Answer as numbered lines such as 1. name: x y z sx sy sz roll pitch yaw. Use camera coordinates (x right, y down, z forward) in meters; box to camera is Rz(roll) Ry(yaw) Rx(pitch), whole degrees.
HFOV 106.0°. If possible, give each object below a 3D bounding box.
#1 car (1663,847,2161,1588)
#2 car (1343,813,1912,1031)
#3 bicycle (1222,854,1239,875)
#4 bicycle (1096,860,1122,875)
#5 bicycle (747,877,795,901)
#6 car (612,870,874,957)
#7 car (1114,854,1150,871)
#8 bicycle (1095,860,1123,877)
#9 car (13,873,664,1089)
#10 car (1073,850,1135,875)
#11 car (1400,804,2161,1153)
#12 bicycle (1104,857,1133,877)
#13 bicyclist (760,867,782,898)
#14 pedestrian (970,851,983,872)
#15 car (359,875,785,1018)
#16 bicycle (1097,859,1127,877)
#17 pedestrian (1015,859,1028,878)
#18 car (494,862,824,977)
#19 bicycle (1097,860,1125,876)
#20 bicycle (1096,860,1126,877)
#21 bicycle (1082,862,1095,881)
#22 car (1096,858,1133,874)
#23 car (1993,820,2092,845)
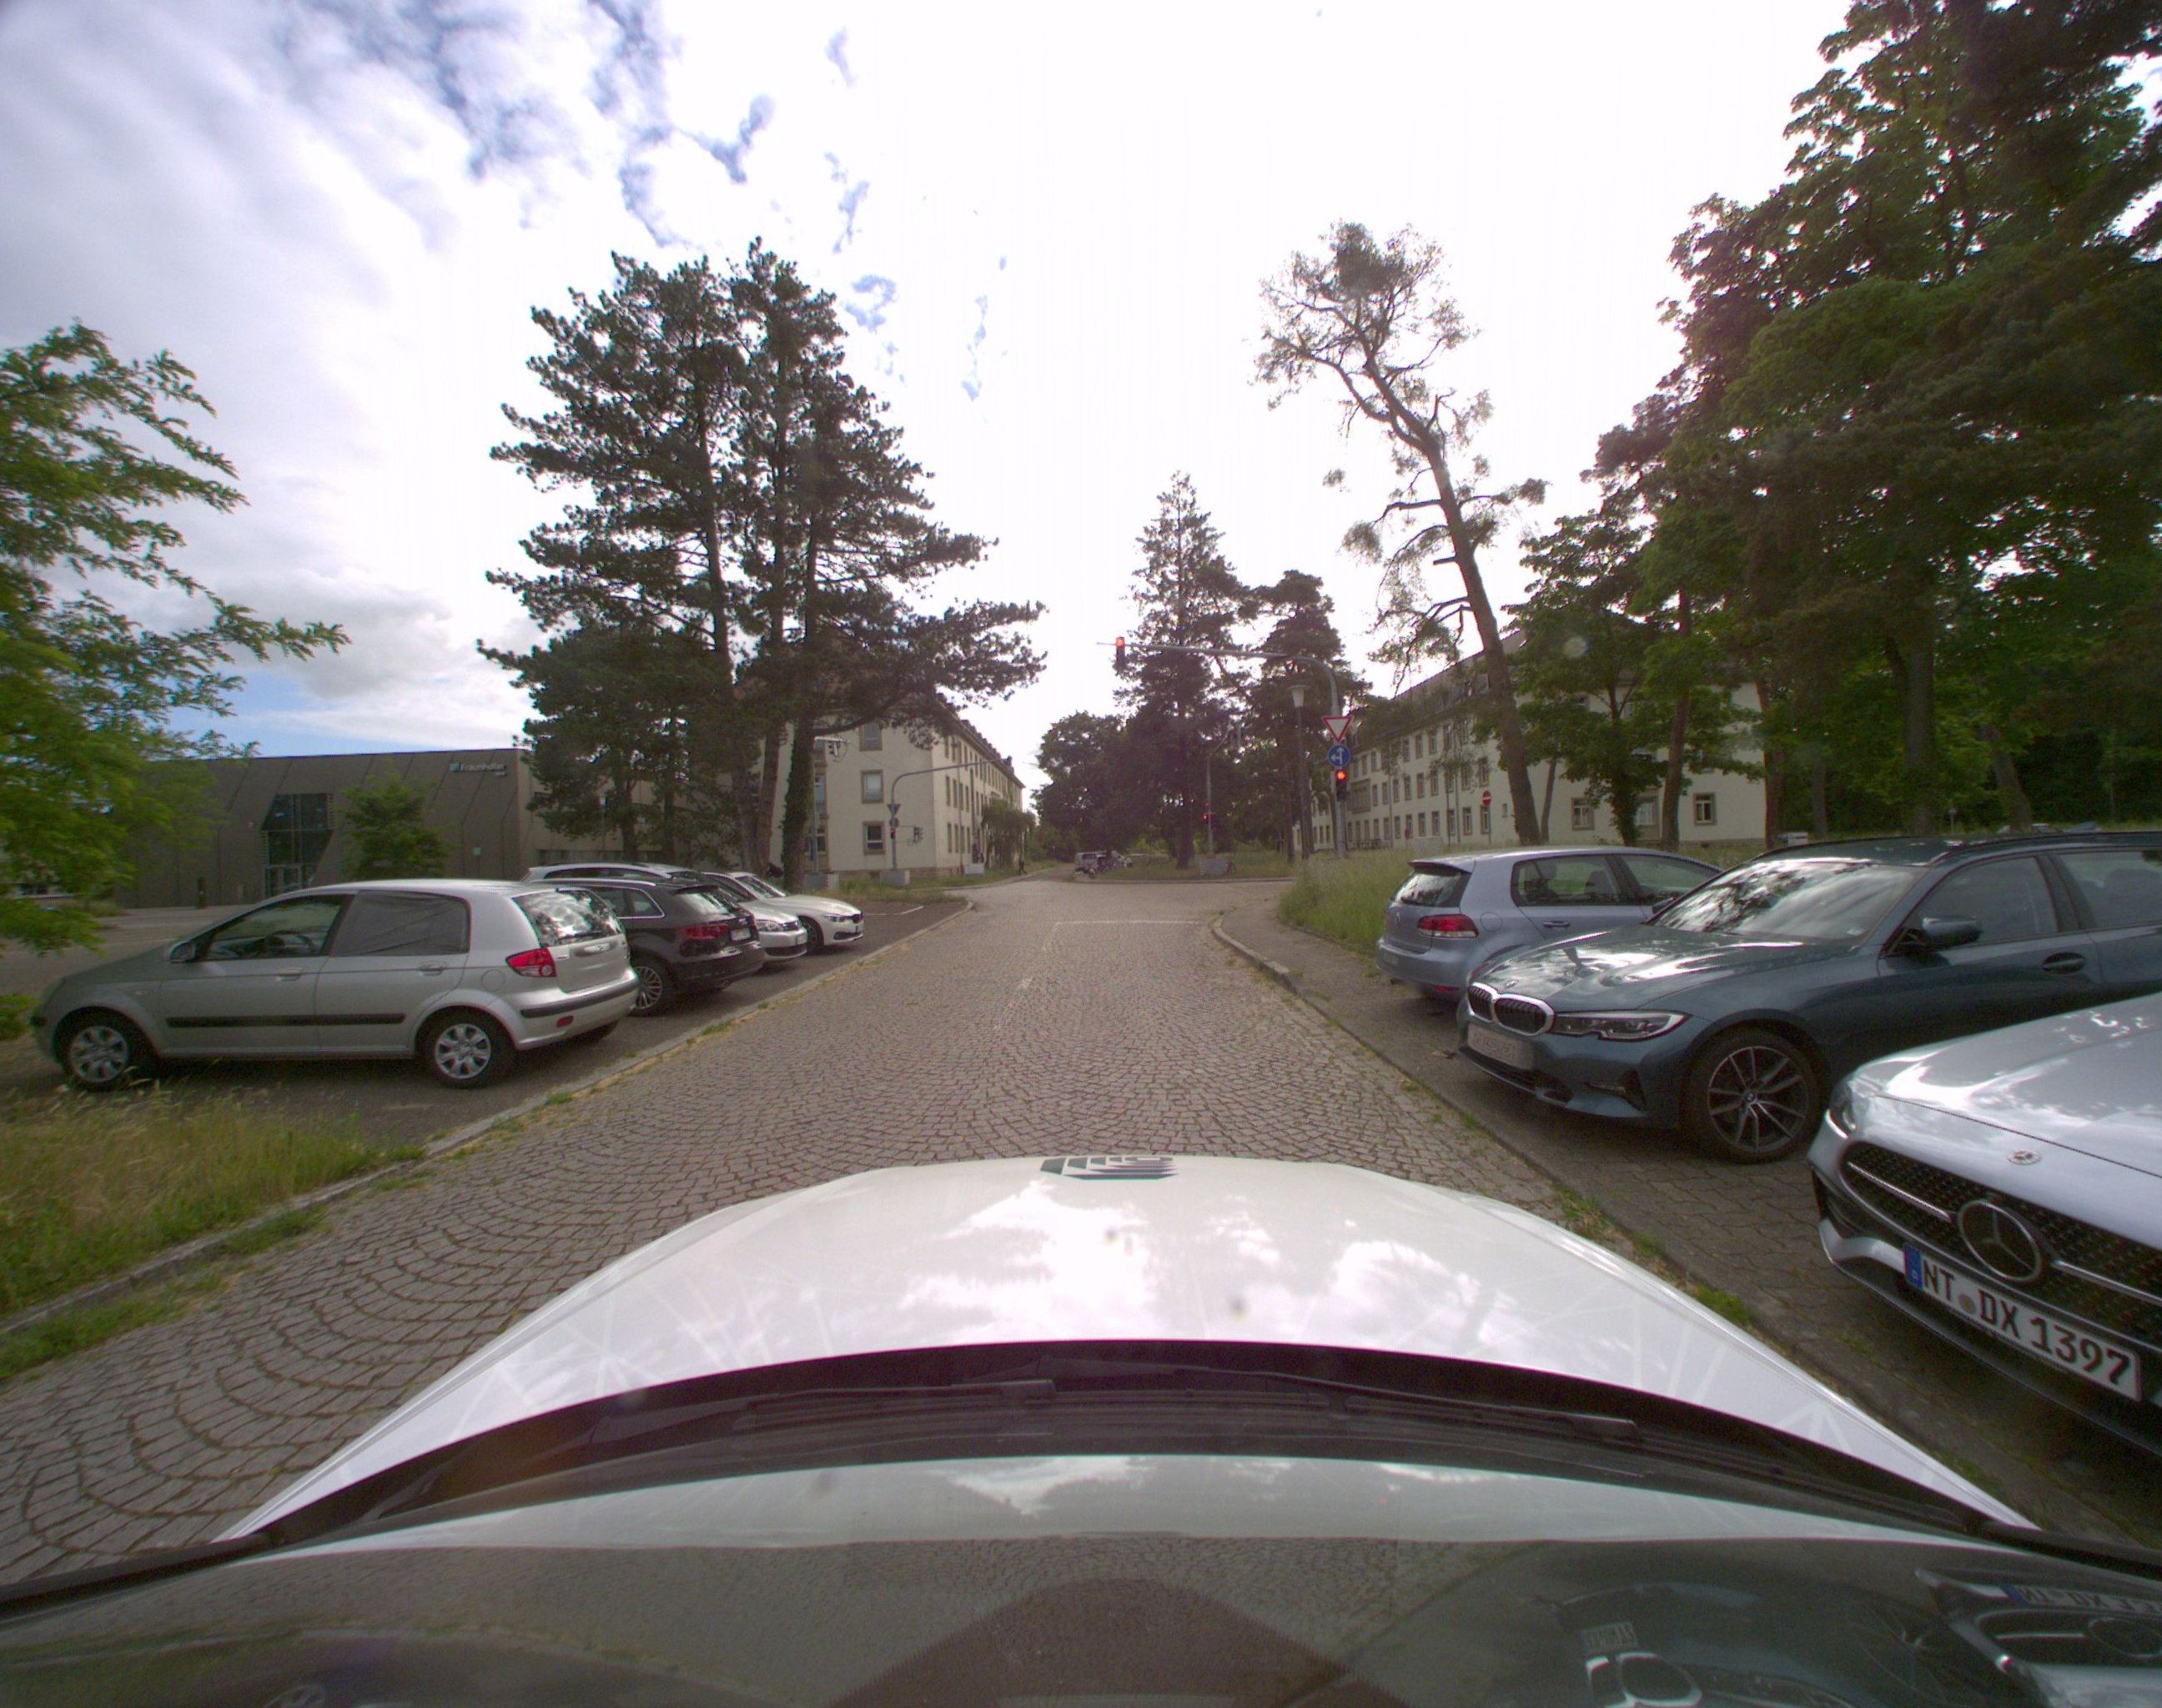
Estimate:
1. car: 4.372 0.655 2.099 4.411 1.416 1.869 -4 0 -2
2. car: 4.605 0.551 7.324 3.912 1.477 1.643 -4 0 2
3. bicycle: 8.083 0.564 44.039 0.584 1.106 1.962 -2 0 1
4. bicycle: 2.170 1.044 63.342 1.964 1.069 0.583 -2 0 -24
5. bicycle: -14.452 1.633 37.978 1.948 1.024 0.605 -2 0 0
6. car: -5.879 1.018 14.506 3.935 1.421 1.650 0 0 0
7. car: 4.880 0.818 78.140 3.223 1.416 1.724 -2 0 -2
8. bicycle: 2.007 1.038 58.306 1.967 1.069 0.582 -2 0 -29
9. car: -5.651 0.921 6.584 3.693 1.479 1.581 0 0 -3
10. car: 2.082 0.792 74.278 5.358 1.925 2.019 -4 0 -9
11. car: 4.635 0.547 4.872 4.668 1.416 1.870 -4 0 -2
12. bicycle: 2.637 0.907 57.650 1.953 1.384 0.587 -2 0 -6
13. bicyclist: -14.466 1.321 37.974 0.746 1.410 0.605 -2 0 1
14. pedestrian: -9.236 0.695 72.009 0.779 1.837 0.733 -2 -1 -31
15. car: -5.505 0.978 9.181 3.736 1.428 1.581 0 0 -3
16. bicycle: 2.137 0.976 56.189 1.953 1.132 0.587 -2 0 -6
17. pedestrian: -5.202 1.252 70.865 0.767 1.618 0.745 -3 -1 25
18. car: -6.015 0.910 11.971 3.938 1.563 1.649 0 0 -3
19. bicycle: 2.183 1.039 59.655 1.967 1.069 0.582 -2 0 -29
20. bicycle: 2.086 1.004 56.822 1.953 1.117 0.587 -2 0 -6
21. bicycle: 0.480 1.124 53.002 0.602 1.132 1.958 -2 0 -5
22. car: 2.916 1.020 70.906 3.001 1.268 1.532 -2 0 -5
23. car: 58.261 -1.282 49.390 3.931 1.421 1.652 0 0 3
